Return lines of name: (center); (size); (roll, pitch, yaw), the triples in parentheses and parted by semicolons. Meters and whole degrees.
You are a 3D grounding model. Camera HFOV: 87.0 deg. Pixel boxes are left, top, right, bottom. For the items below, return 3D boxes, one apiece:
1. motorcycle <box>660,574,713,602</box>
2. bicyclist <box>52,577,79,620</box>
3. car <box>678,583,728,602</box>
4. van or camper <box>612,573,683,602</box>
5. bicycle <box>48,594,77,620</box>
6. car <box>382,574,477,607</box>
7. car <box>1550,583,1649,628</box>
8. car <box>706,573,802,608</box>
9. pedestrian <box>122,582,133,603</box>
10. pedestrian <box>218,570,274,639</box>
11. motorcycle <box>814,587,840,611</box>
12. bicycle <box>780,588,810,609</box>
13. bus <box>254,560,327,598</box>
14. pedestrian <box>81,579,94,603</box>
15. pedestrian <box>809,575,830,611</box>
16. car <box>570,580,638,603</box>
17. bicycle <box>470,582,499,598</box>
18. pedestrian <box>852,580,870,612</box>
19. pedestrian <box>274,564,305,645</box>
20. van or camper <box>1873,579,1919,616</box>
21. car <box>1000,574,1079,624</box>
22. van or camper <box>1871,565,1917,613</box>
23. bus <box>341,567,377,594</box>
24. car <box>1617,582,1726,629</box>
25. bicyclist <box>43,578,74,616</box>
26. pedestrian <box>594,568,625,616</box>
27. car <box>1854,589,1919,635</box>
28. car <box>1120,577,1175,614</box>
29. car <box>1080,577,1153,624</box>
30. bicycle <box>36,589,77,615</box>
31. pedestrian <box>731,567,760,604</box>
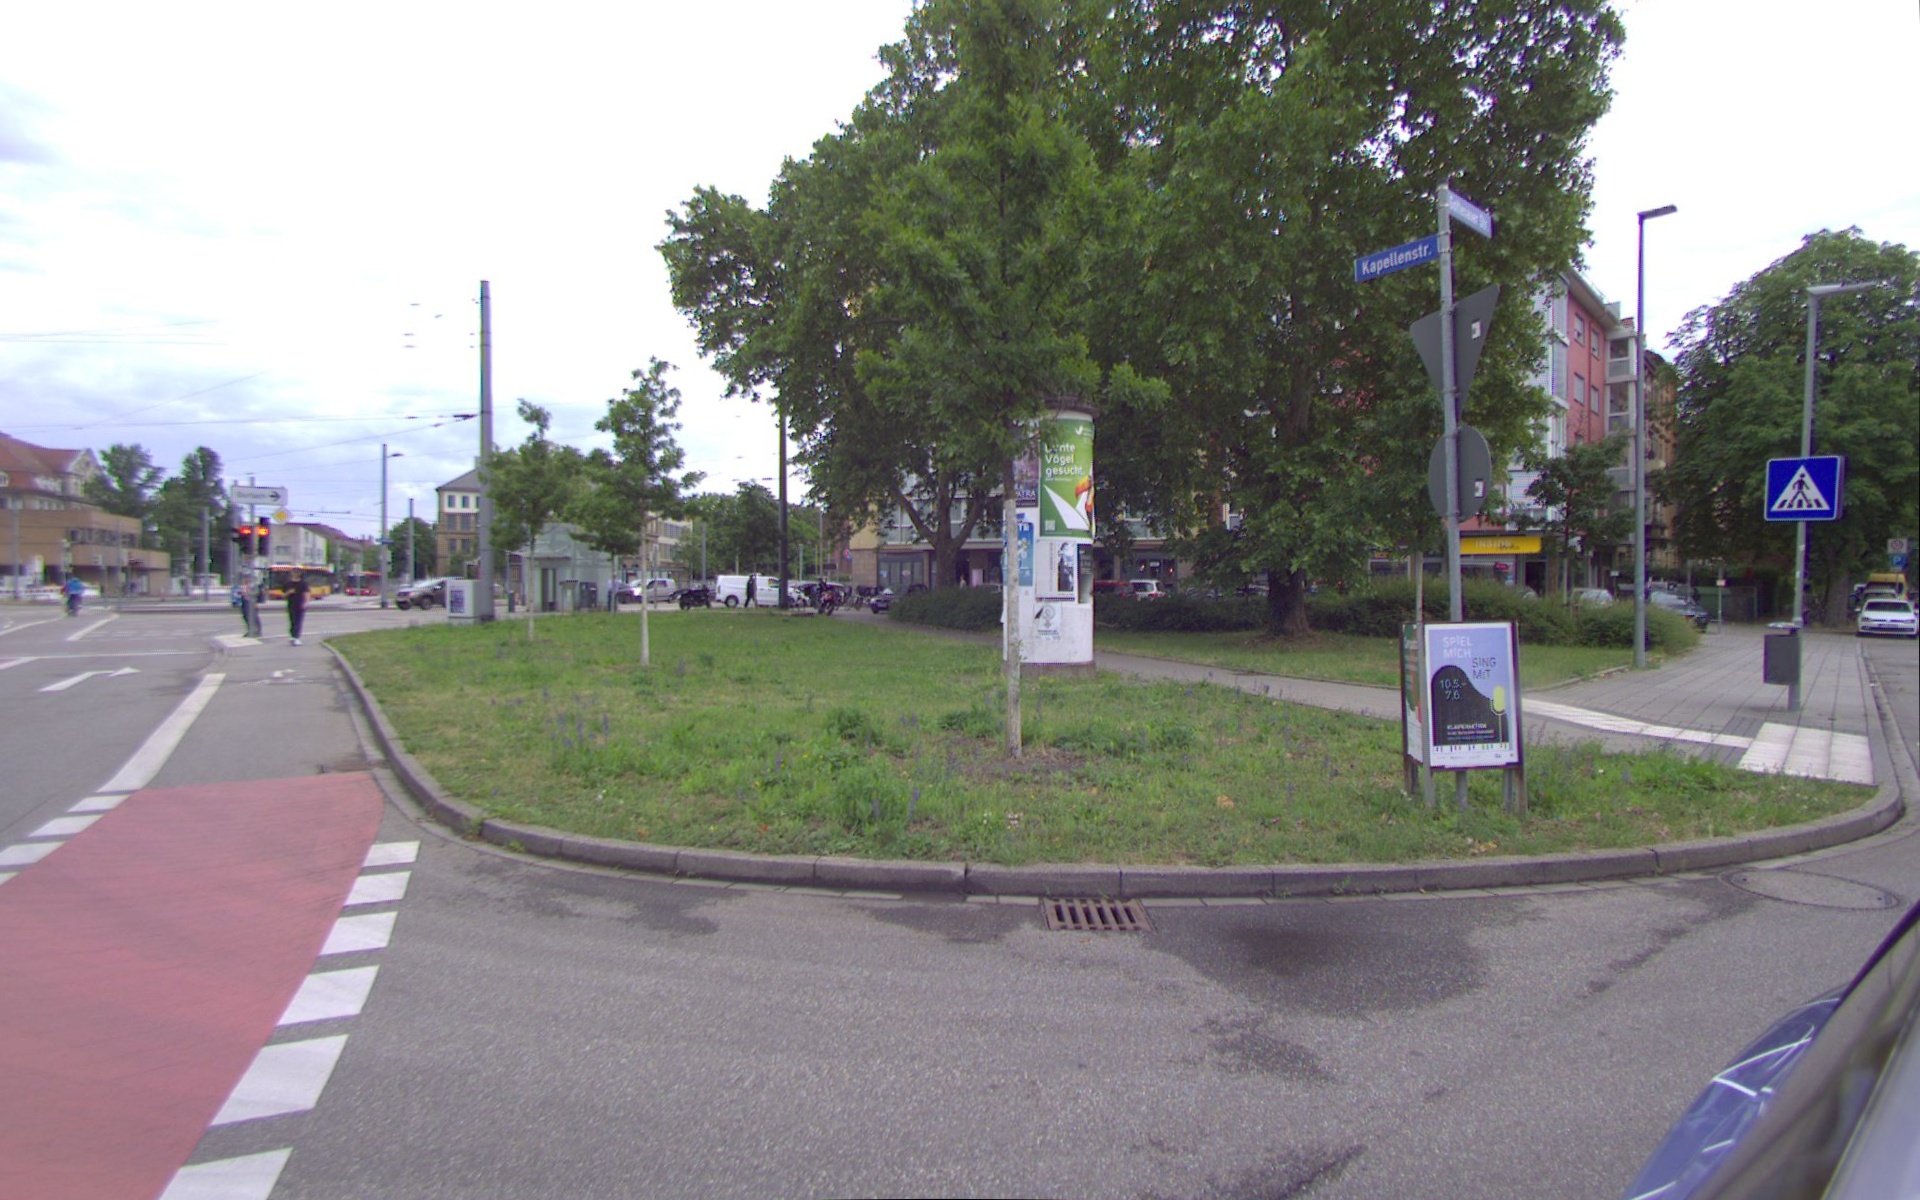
motorcycle: (-12.054, -0.532, 44.662); (0.762, 1.183, 2.357); (0, 1, 34)
bicyclist: (-39.657, -0.080, 44.871); (0.859, 1.874, 1.046); (-2, 2, -41)
car: (-20.432, -0.618, 80.542); (1.757, 1.482, 3.965); (-1, 0, 26)
van or camper: (-22.975, -0.894, 74.633); (2.170, 2.039, 5.115); (-1, 0, 24)
bicycle: (-39.848, 0.297, 44.962); (0.853, 1.118, 2.299); (0, 1, -39)
car: (-27.824, -0.518, 53.200); (1.786, 1.660, 4.189); (0, 1, 28)
car: (24.657, 0.179, 39.210); (1.833, 1.567, 4.460); (0, 2, 12)
car: (-12.747, -0.610, 62.597); (5.617, 2.039, 2.032); (-1, 0, -16)
pedestrian: (-75.832, -0.674, 92.188); (0.611, 1.942, 0.711); (0, 0, -32)
pedestrian: (-20.426, 0.114, 28.971); (0.724, 1.931, 1.100); (0, 0, 12)
motorcycle: (-5.810, -0.049, 44.145); (0.856, 1.010, 1.017); (0, 1, -25)
bicycle: (-7.499, -0.080, 46.062); (1.252, 0.929, 0.590); (1, 0, 25)
bus: (-59.816, -1.868, 90.747); (2.908, 3.162, 11.563); (0, 1, -20)
pedestrian: (-73.874, -0.764, 85.674); (0.696, 1.942, 0.624); (0, 0, -28)
pedestrian: (-6.487, -0.321, 46.767); (0.630, 1.659, 0.865); (0, 0, 22)
car: (-22.908, -0.578, 65.241); (1.680, 1.413, 4.358); (0, 1, 23)
bicycle: (-42.061, -0.861, 89.505); (2.223, 1.348, 0.708); (-1, 0, -28)
pedestrian: (-5.173, -0.219, 52.863); (0.698, 1.659, 0.727); (0, 0, -28)
pedestrian: (-15.857, 0.092, 23.948); (0.526, 1.867, 0.988); (0, 1, -30)
van or camper: (53.592, -0.140, 57.897); (1.993, 2.039, 3.939); (1, 1, 42)
car: (2.991, -0.070, 37.200); (1.837, 1.744, 4.448); (0, 1, 19)
van or camper: (56.916, -0.683, 61.696); (1.993, 2.807, 3.939); (1, 1, 42)
bus: (-77.696, -2.489, 130.982); (2.607, 3.324, 11.015); (0, 1, -23)
car: (26.623, 0.151, 38.059); (1.834, 1.567, 4.457); (0, 2, 14)
bicyclist: (-41.513, -0.152, 46.612); (0.888, 1.754, 0.875); (0, 0, 34)
pedestrian: (-14.431, -0.332, 41.664); (0.874, 1.955, 1.015); (0, 0, 7)
car: (35.080, 0.405, 38.251); (1.854, 1.567, 4.409); (3, 2, 41)
car: (8.549, -0.236, 45.841); (1.837, 1.567, 4.448); (0, 1, 19)
car: (5.663, -0.026, 36.259); (1.837, 1.567, 4.448); (0, 1, 19)
bicycle: (-41.746, 0.073, 46.772); (2.286, 1.193, 0.884); (1, 1, 34)
pedestrian: (-10.849, -0.721, 51.191); (1.075, 1.820, 0.939); (-1, 0, 24)
